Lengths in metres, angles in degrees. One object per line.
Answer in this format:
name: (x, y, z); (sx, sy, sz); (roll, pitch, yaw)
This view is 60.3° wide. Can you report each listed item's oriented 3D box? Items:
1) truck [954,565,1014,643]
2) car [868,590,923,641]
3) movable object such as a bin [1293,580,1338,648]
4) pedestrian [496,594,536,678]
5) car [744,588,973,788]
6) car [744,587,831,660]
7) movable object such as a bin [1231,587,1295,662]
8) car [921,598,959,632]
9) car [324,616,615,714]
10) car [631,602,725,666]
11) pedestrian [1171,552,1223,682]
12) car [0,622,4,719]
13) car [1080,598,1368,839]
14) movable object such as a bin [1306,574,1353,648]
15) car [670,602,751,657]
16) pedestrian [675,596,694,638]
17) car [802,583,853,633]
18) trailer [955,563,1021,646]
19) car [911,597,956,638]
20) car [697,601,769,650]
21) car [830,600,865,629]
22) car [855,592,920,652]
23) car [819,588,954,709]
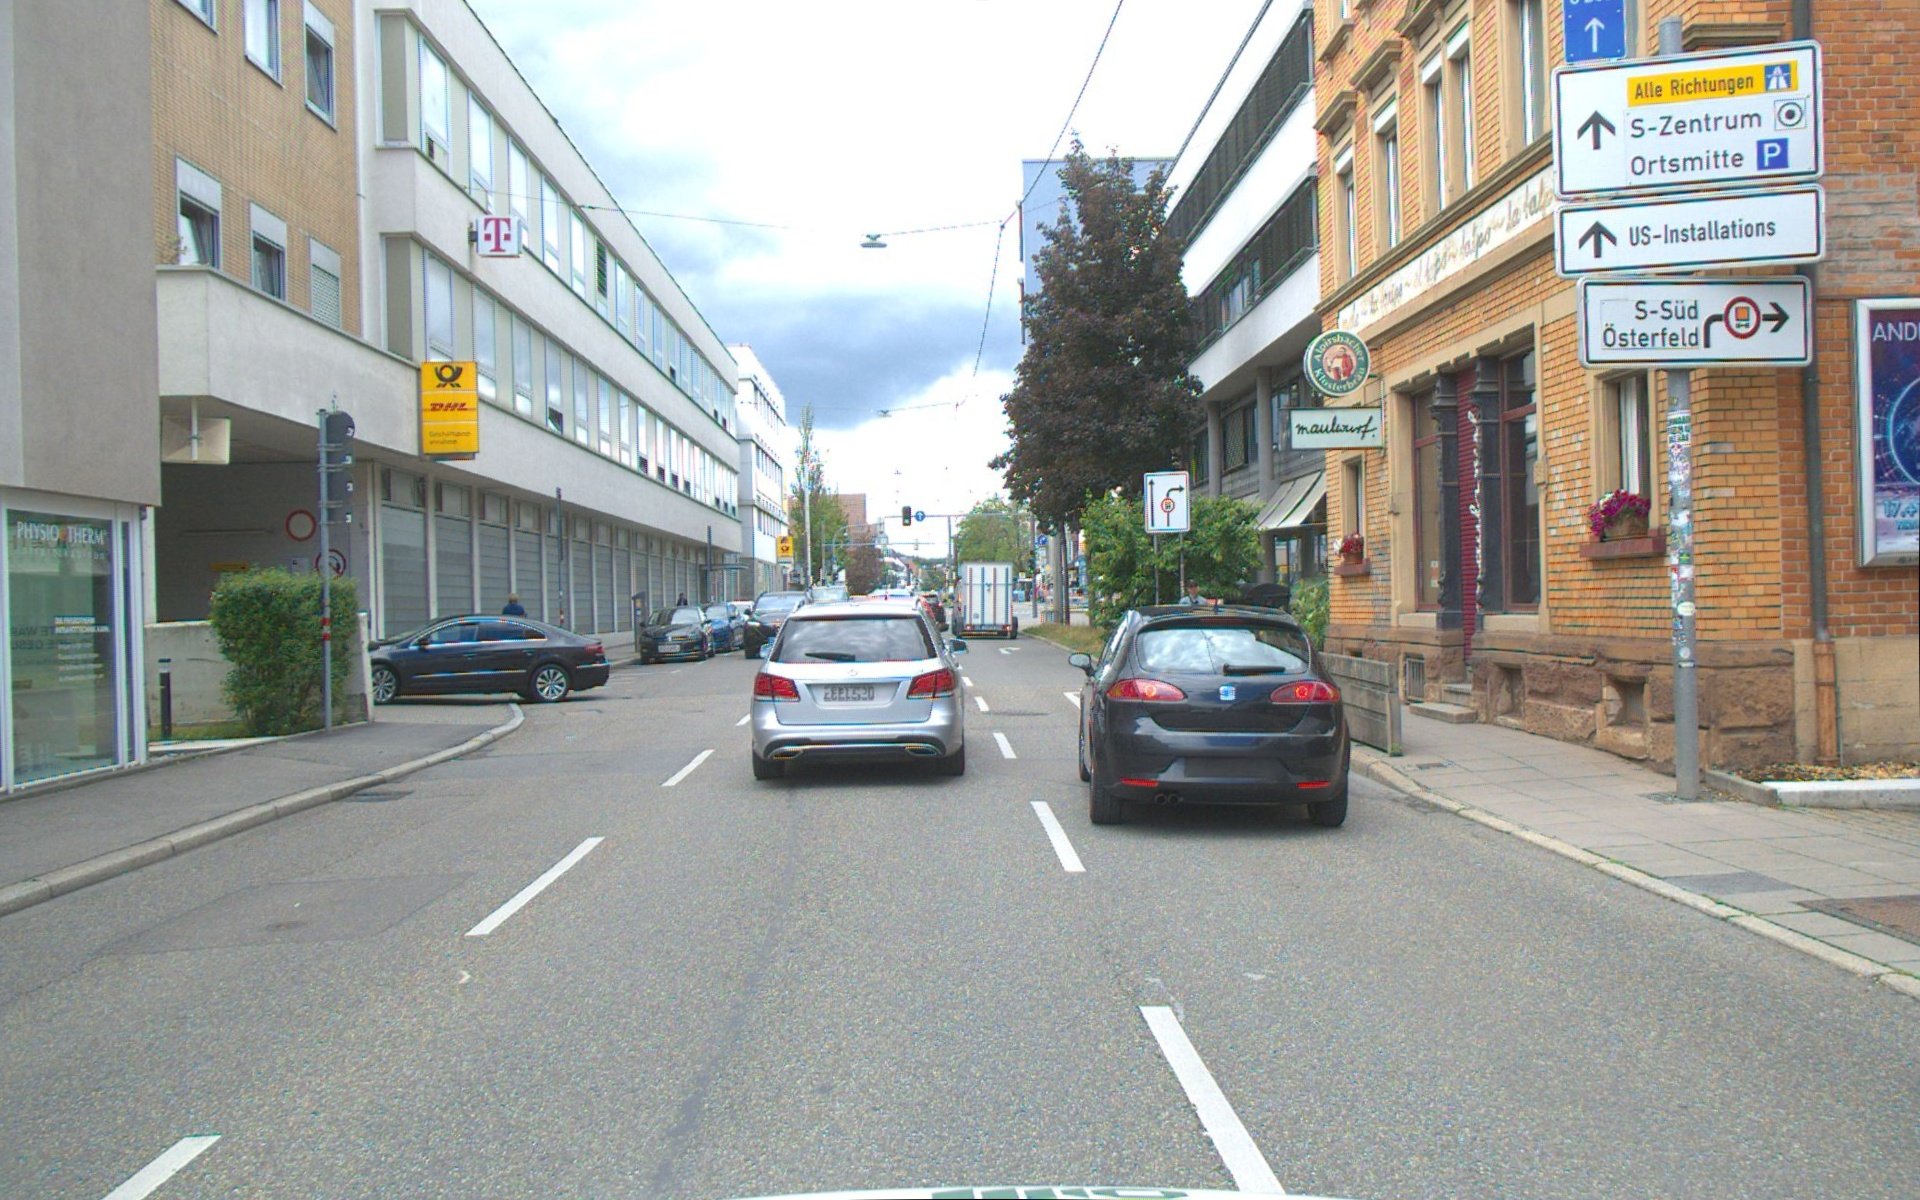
truck: (0.819, 0.138, 59.179); (1.953, 2.653, 3.259); (-1, 0, -2)
car: (-2.120, 0.488, 54.792); (1.767, 1.629, 3.736); (0, 0, -2)
movable object such as a bin: (8.316, 0.332, 38.732); (0.804, 1.530, 0.731); (-3, -1, 0)
pedestrian: (-9.789, 0.782, 36.477); (0.630, 1.800, 0.809); (-2, 0, -3)
car: (-0.856, 0.684, 14.808); (1.767, 1.519, 3.736); (-1, 0, -2)
car: (-4.618, 0.597, 44.760); (1.954, 1.769, 4.551); (-3, 0, -2)
movable object such as a bin: (6.318, 0.504, 34.532); (0.924, 1.496, 1.444); (-3, 0, -4)
car: (-1.008, 0.699, 81.307); (1.767, 1.629, 3.736); (0, 0, -2)
car: (-7.963, 1.009, 26.883); (4.342, 1.389, 1.772); (-1, 0, -25)
car: (-7.502, 0.867, 44.338); (1.874, 1.543, 4.173); (-3, 0, -2)
pedestrian: (3.805, 0.266, 26.614); (0.679, 2.049, 0.676); (-1, 0, -3)
car: (-15.513, 1.067, 23.511); (1.718, 1.482, 3.690); (0, 0, -1)
car: (1.775, 0.735, 12.186); (1.728, 1.458, 3.830); (-1, 0, 4)
movable object such as a bin: (8.314, 0.251, 37.220); (0.804, 1.617, 0.731); (-3, -1, 0)
car: (-7.520, 0.869, 50.185); (1.953, 1.543, 4.173); (-1, 0, -2)
pedestrian: (-10.877, 0.669, 65.322); (0.642, 1.651, 0.681); (-1, 0, -1)
car: (-5.820, 0.349, 73.035); (1.953, 2.049, 4.900); (-3, 0, -2)
trailer: (0.905, 0.151, 56.395); (1.953, 2.653, 5.347); (-1, 0, -2)
car: (-1.123, 0.695, 68.295); (1.767, 1.629, 3.736); (0, 0, -2)
car: (-7.629, 0.845, 55.889); (1.953, 1.543, 4.173); (-1, 0, -2)
car: (-6.143, 0.780, 90.917); (1.733, 1.438, 4.173); (-2, 0, -2)
car: (-2.050, 0.598, 47.026); (1.767, 1.629, 3.736); (0, 0, -2)
car: (-1.047, 0.649, 24.004); (1.767, 1.580, 3.736); (-1, 0, -2)
